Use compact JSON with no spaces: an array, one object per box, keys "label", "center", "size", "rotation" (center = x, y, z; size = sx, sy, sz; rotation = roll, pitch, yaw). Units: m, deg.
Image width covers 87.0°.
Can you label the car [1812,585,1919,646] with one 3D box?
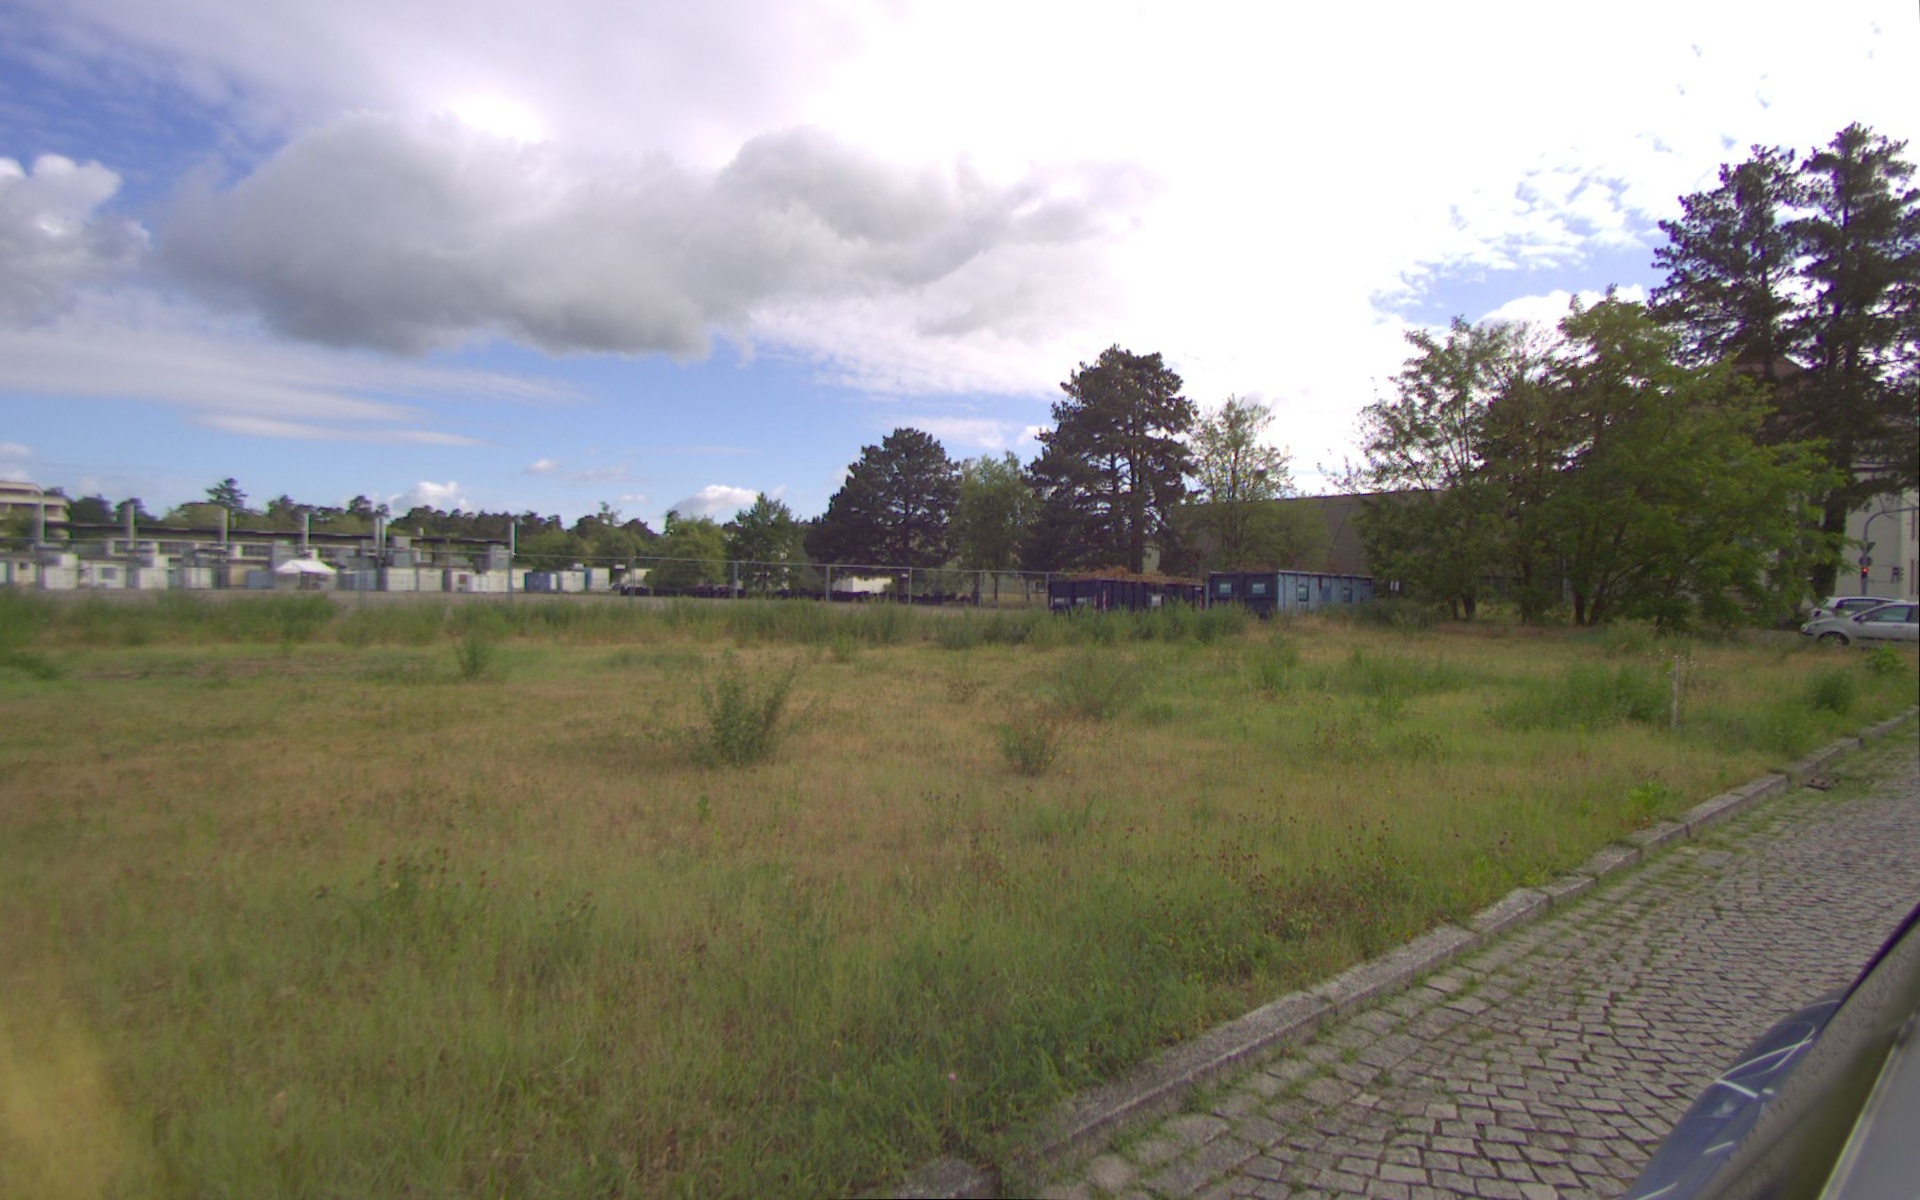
[{"label":"car","center":[28.235,0.504,30.070],"size":[1.854,1.615,4.246],"rotation":[0,4,-43]}]

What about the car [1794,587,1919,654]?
[{"label":"car","center":[24.466,0.554,26.262],"size":[1.773,1.533,4.081],"rotation":[0,4,-42]}]

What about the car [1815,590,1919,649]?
[{"label":"car","center":[26.487,0.590,27.994],"size":[1.853,1.470,4.081],"rotation":[0,4,-42]}]

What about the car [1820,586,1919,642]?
[{"label":"car","center":[30.095,0.506,31.754],"size":[1.873,1.584,4.501],"rotation":[0,4,-42]}]
